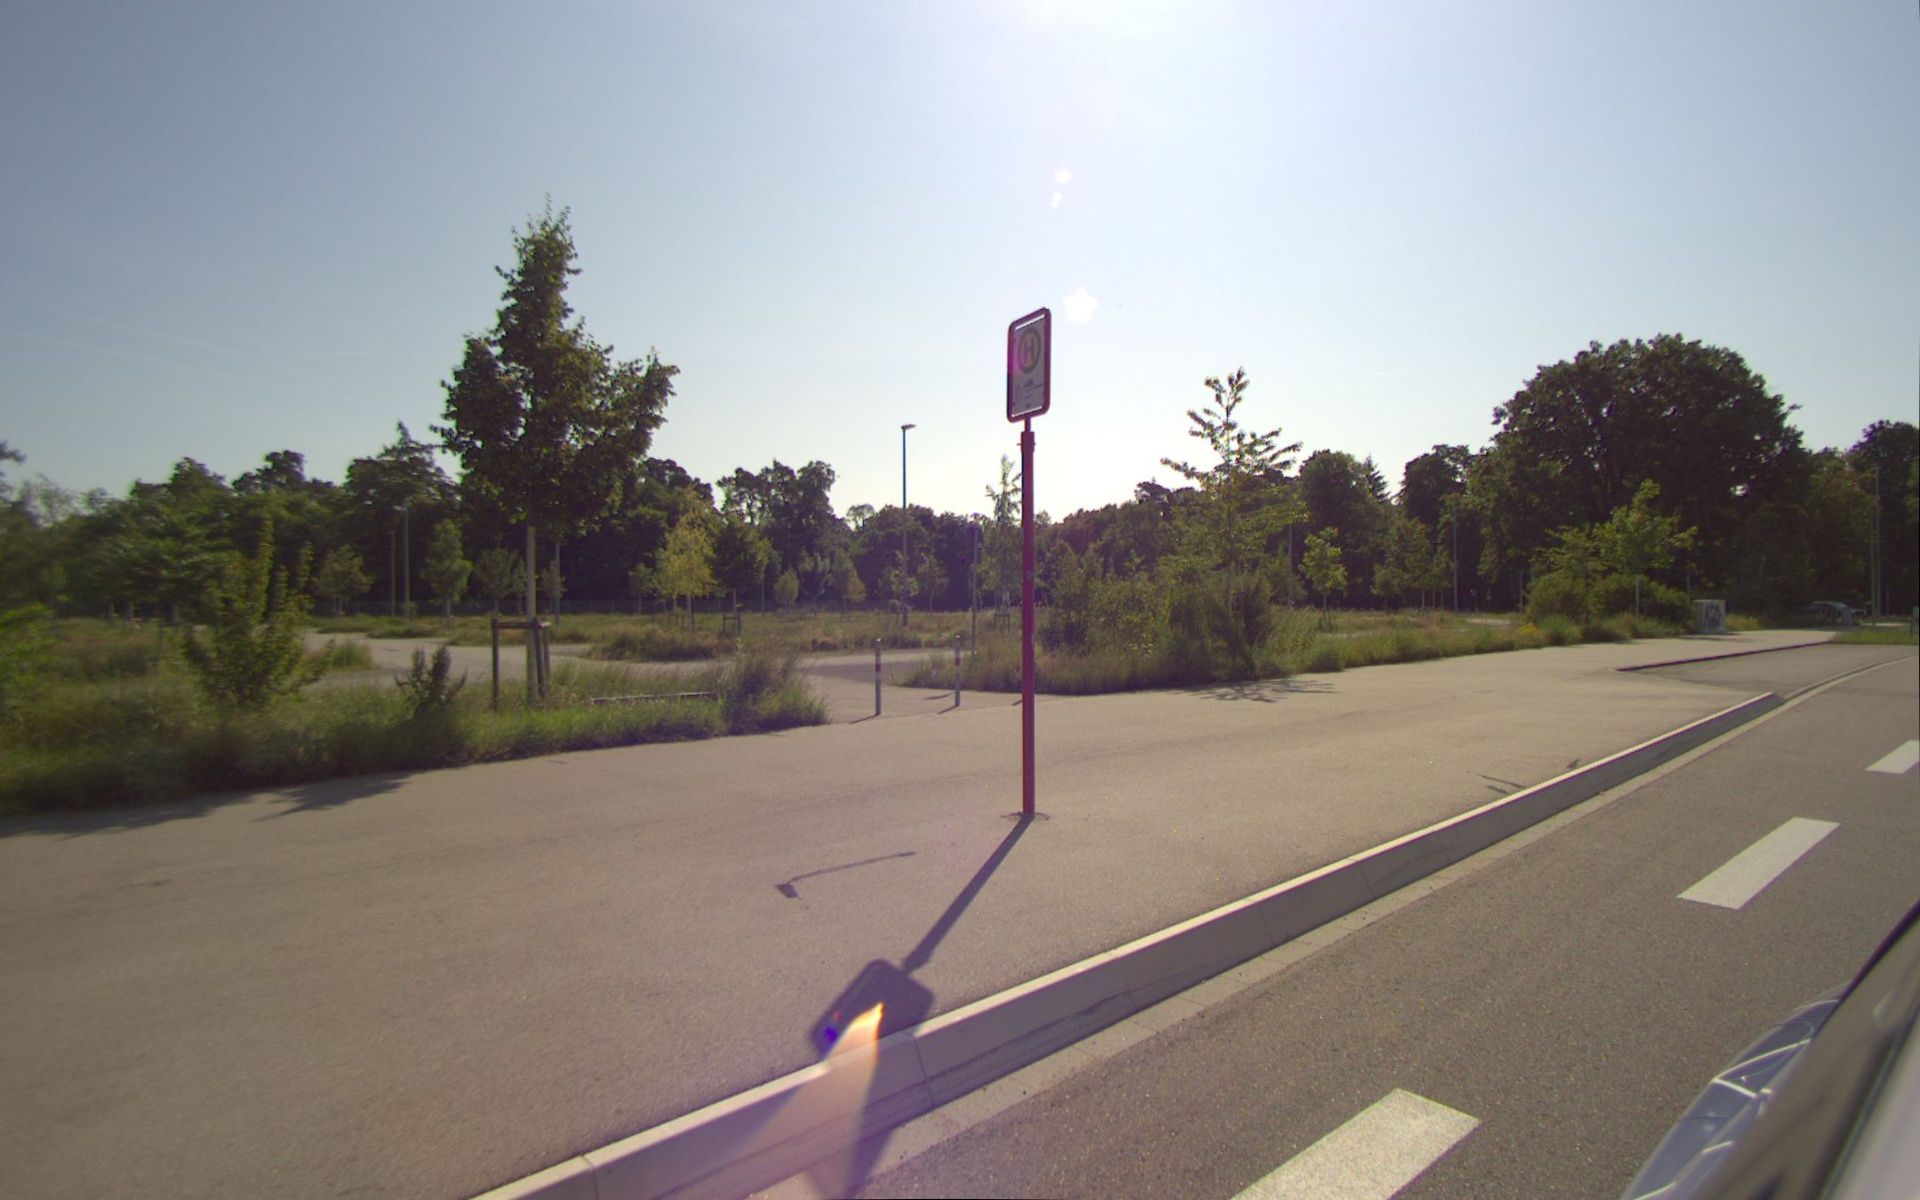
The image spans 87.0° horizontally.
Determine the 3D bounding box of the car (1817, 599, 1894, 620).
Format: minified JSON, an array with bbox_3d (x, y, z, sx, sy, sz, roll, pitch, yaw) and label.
[{"bbox_3d":[66.142,0.658,74.826,1.809,1.502,4.006,0,0,-8],"label":"car"}]
